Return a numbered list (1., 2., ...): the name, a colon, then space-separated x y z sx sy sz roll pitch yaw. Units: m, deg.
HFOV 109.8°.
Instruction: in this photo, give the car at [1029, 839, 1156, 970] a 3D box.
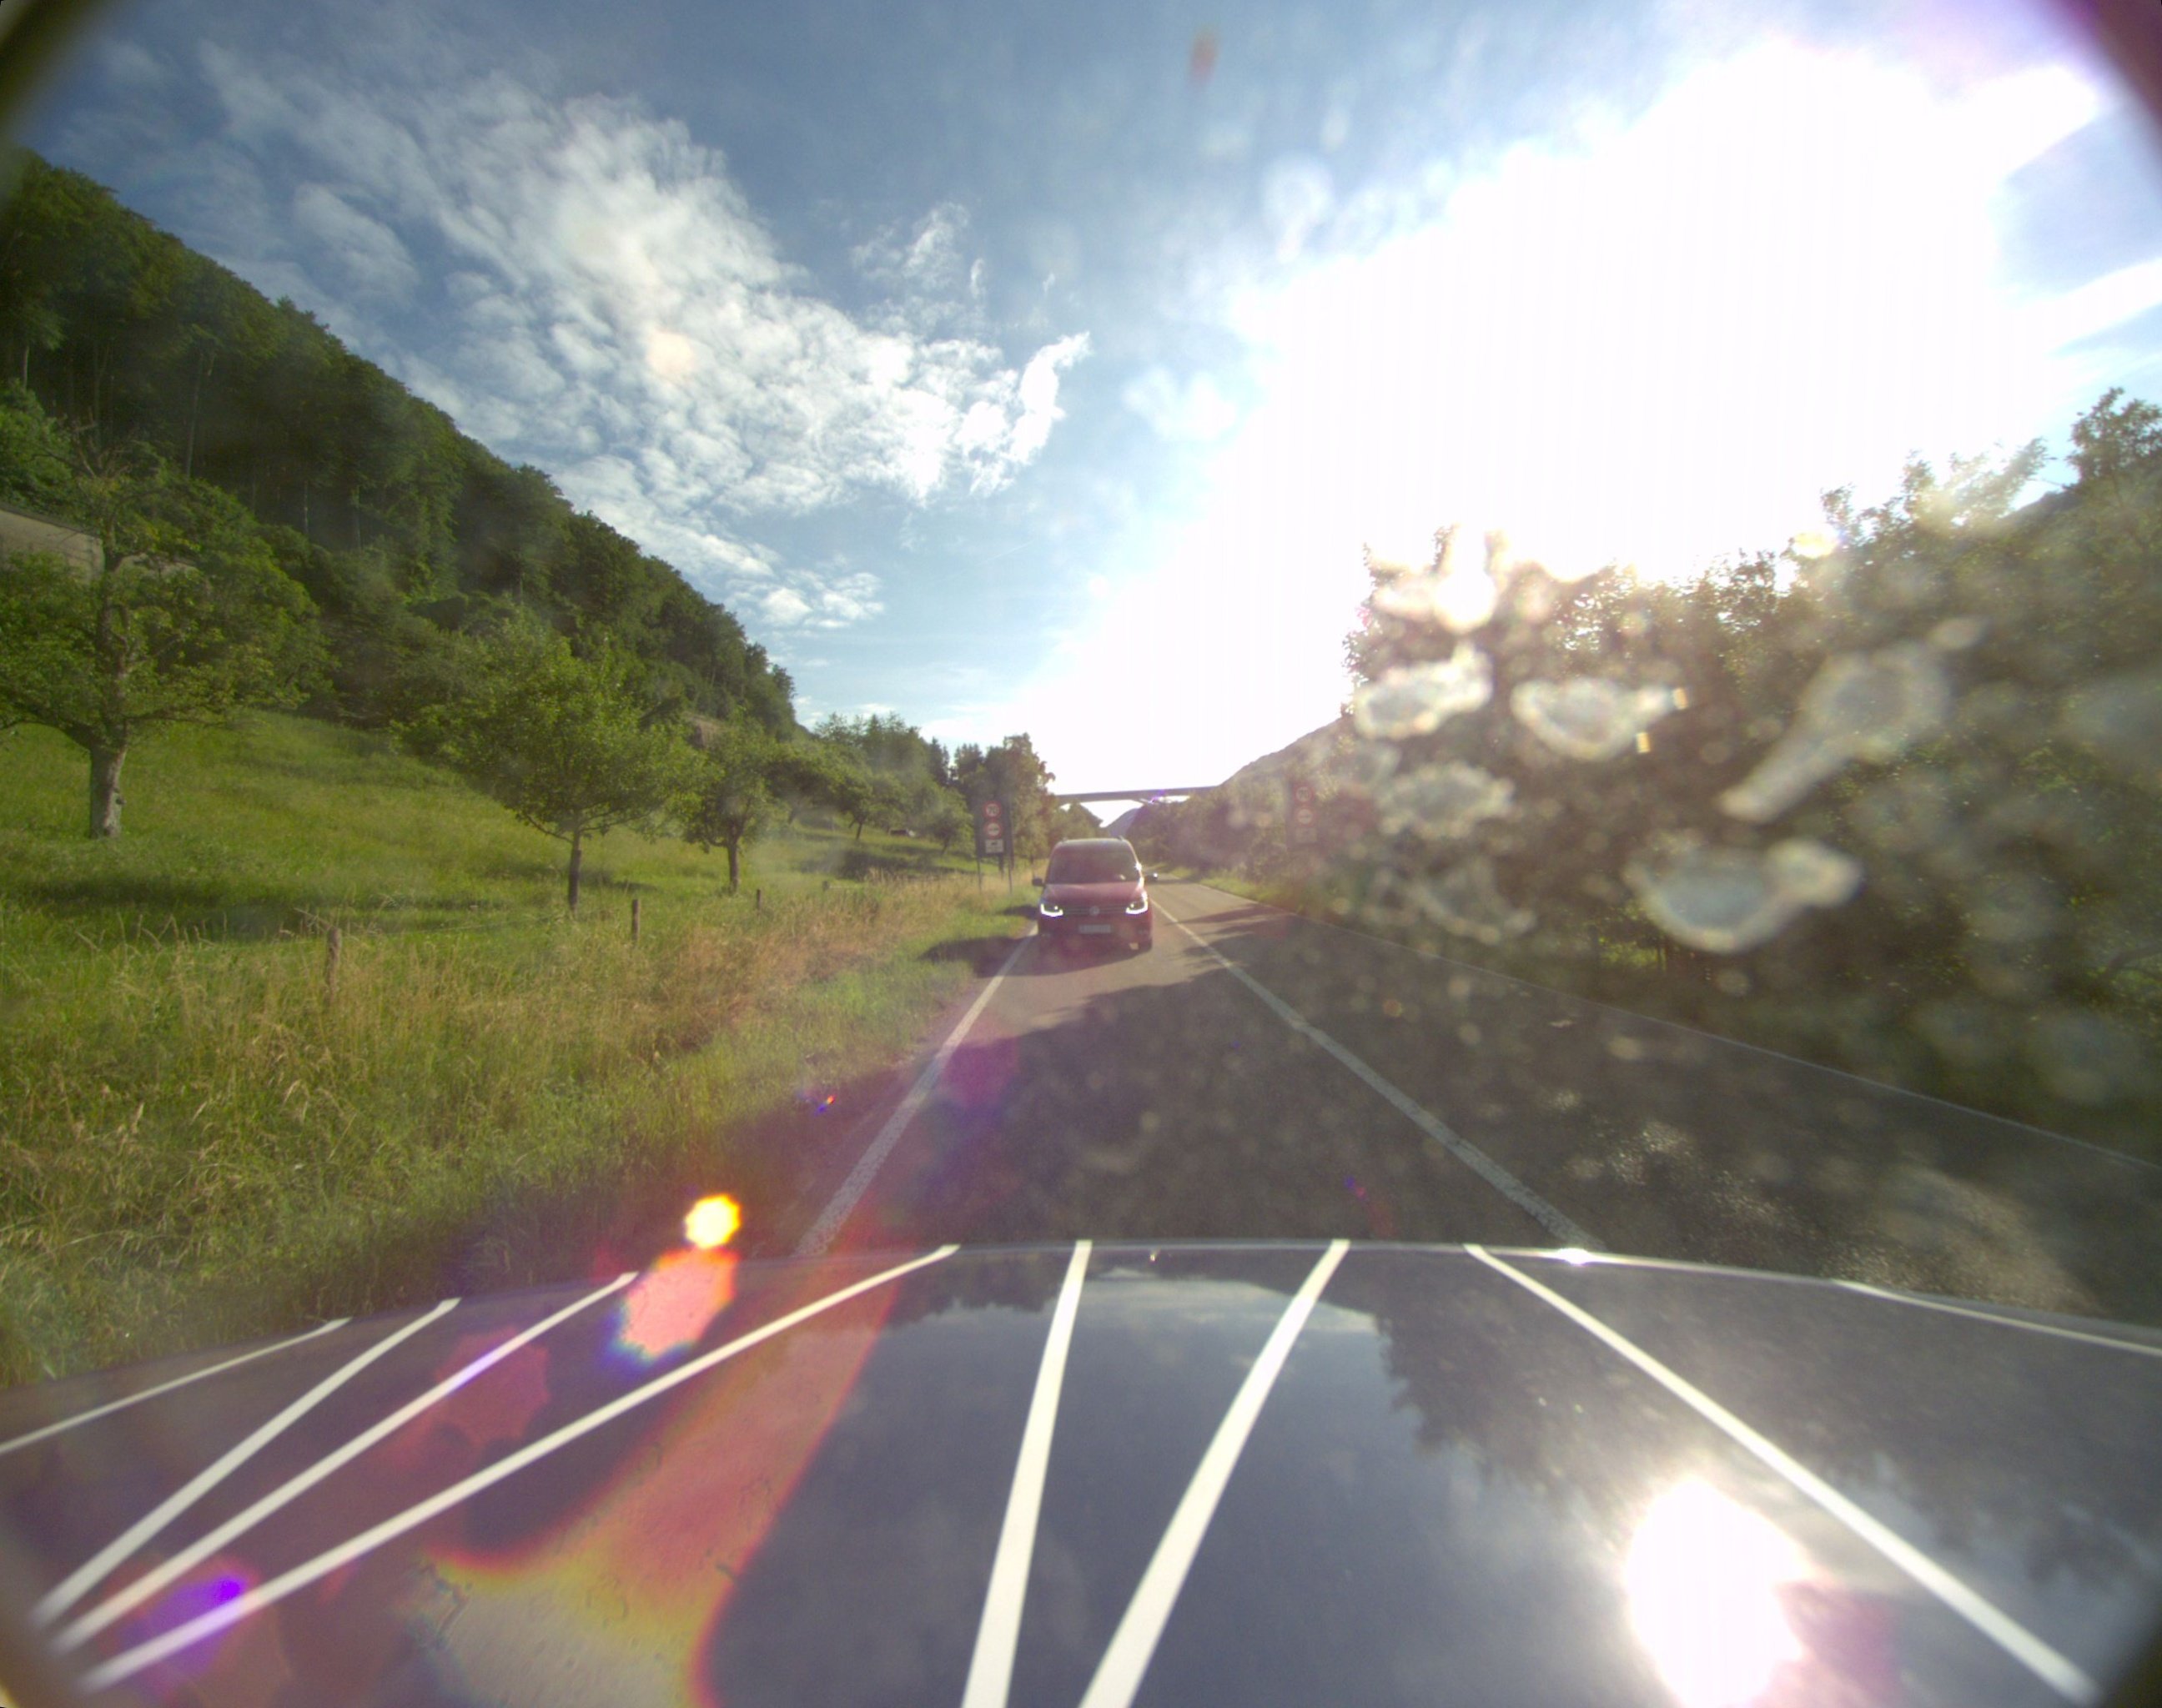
1. car: 0.184 0.706 12.634 1.741 1.803 4.000 -1 0 1
